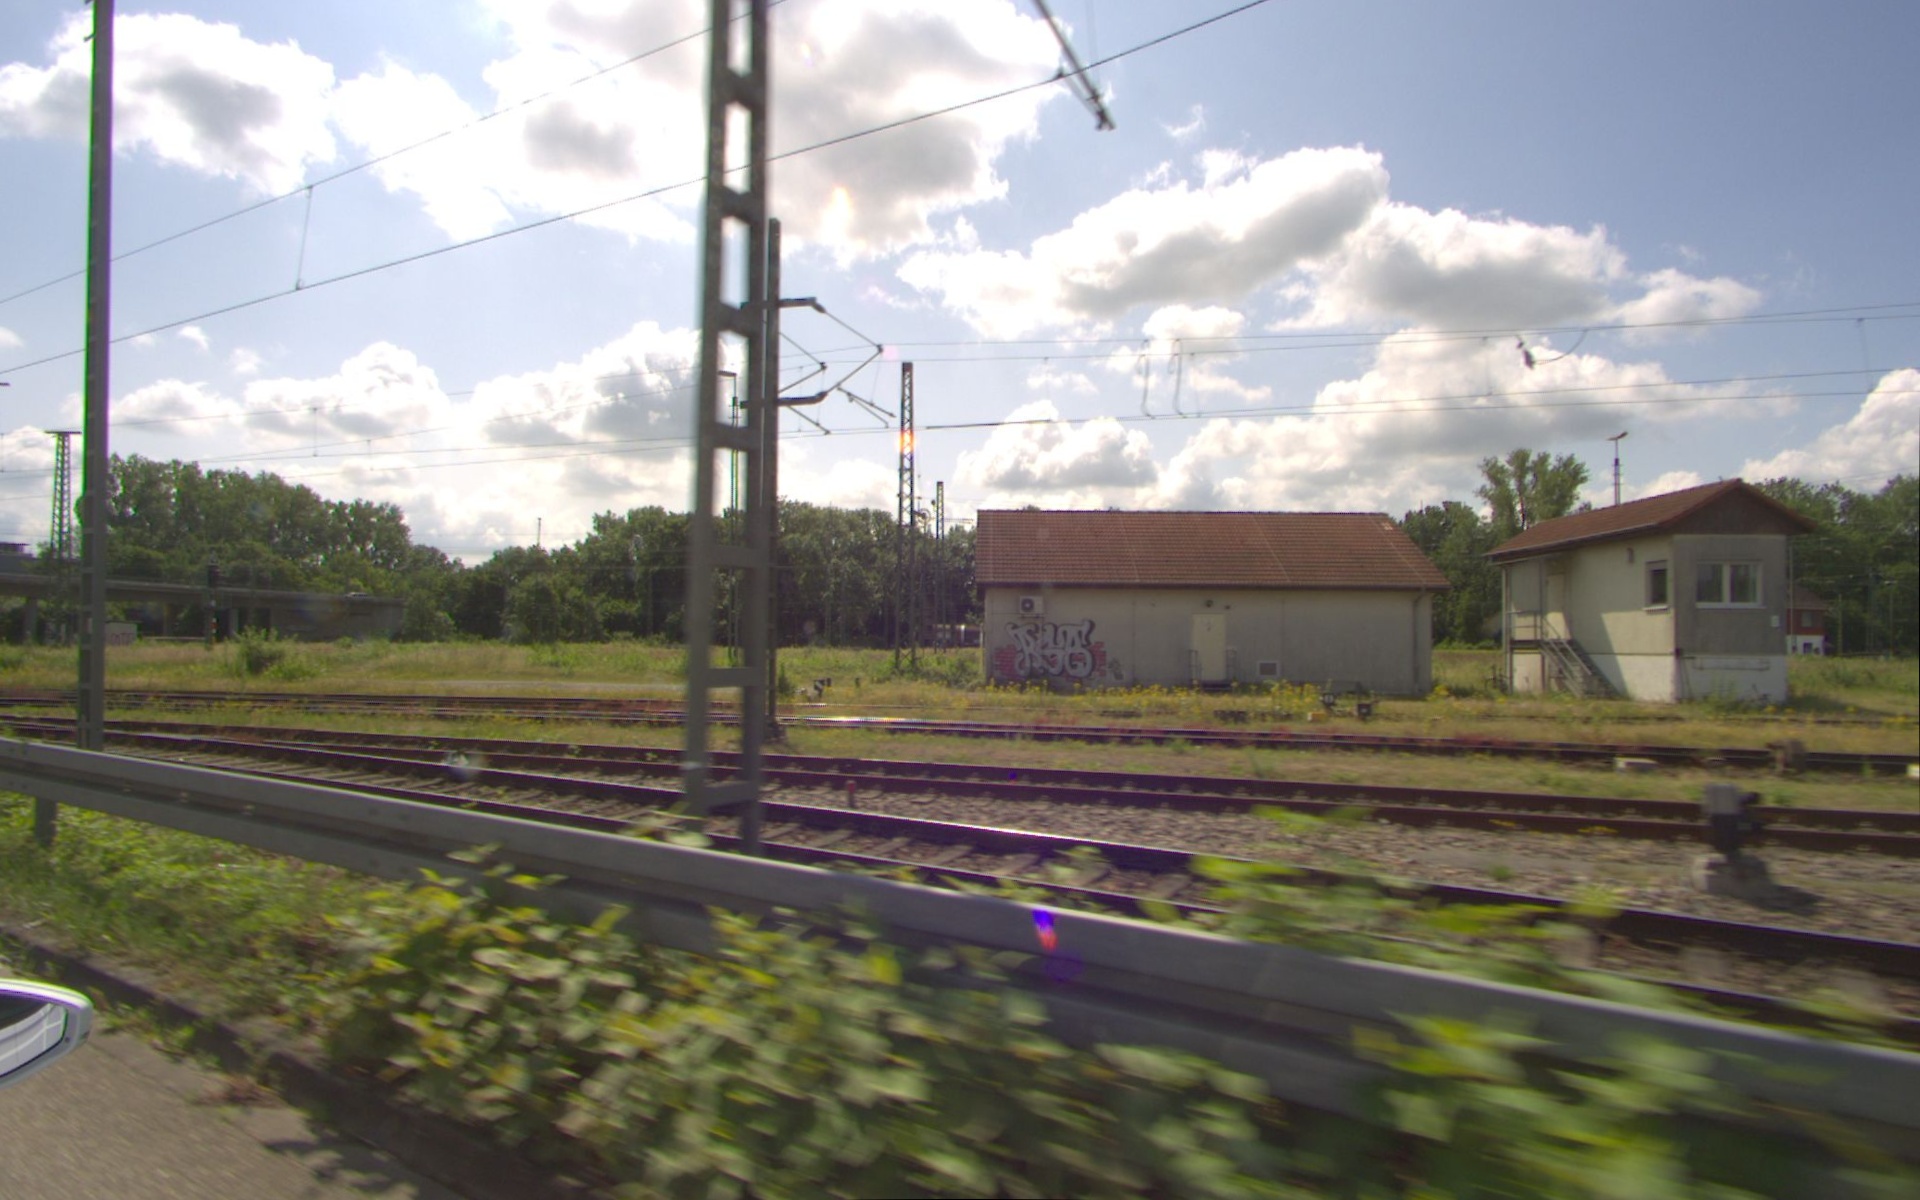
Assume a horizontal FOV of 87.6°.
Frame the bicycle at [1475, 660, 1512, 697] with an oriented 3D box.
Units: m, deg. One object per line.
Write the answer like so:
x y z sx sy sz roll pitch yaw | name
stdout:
18.425 2.690 34.615 0.405 1.219 1.875 1 -2 4 | bicycle

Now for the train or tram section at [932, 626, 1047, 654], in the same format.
3.514 4.831 120.656 13.667 3.347 3.036 0 -2 1 | train or tram section
